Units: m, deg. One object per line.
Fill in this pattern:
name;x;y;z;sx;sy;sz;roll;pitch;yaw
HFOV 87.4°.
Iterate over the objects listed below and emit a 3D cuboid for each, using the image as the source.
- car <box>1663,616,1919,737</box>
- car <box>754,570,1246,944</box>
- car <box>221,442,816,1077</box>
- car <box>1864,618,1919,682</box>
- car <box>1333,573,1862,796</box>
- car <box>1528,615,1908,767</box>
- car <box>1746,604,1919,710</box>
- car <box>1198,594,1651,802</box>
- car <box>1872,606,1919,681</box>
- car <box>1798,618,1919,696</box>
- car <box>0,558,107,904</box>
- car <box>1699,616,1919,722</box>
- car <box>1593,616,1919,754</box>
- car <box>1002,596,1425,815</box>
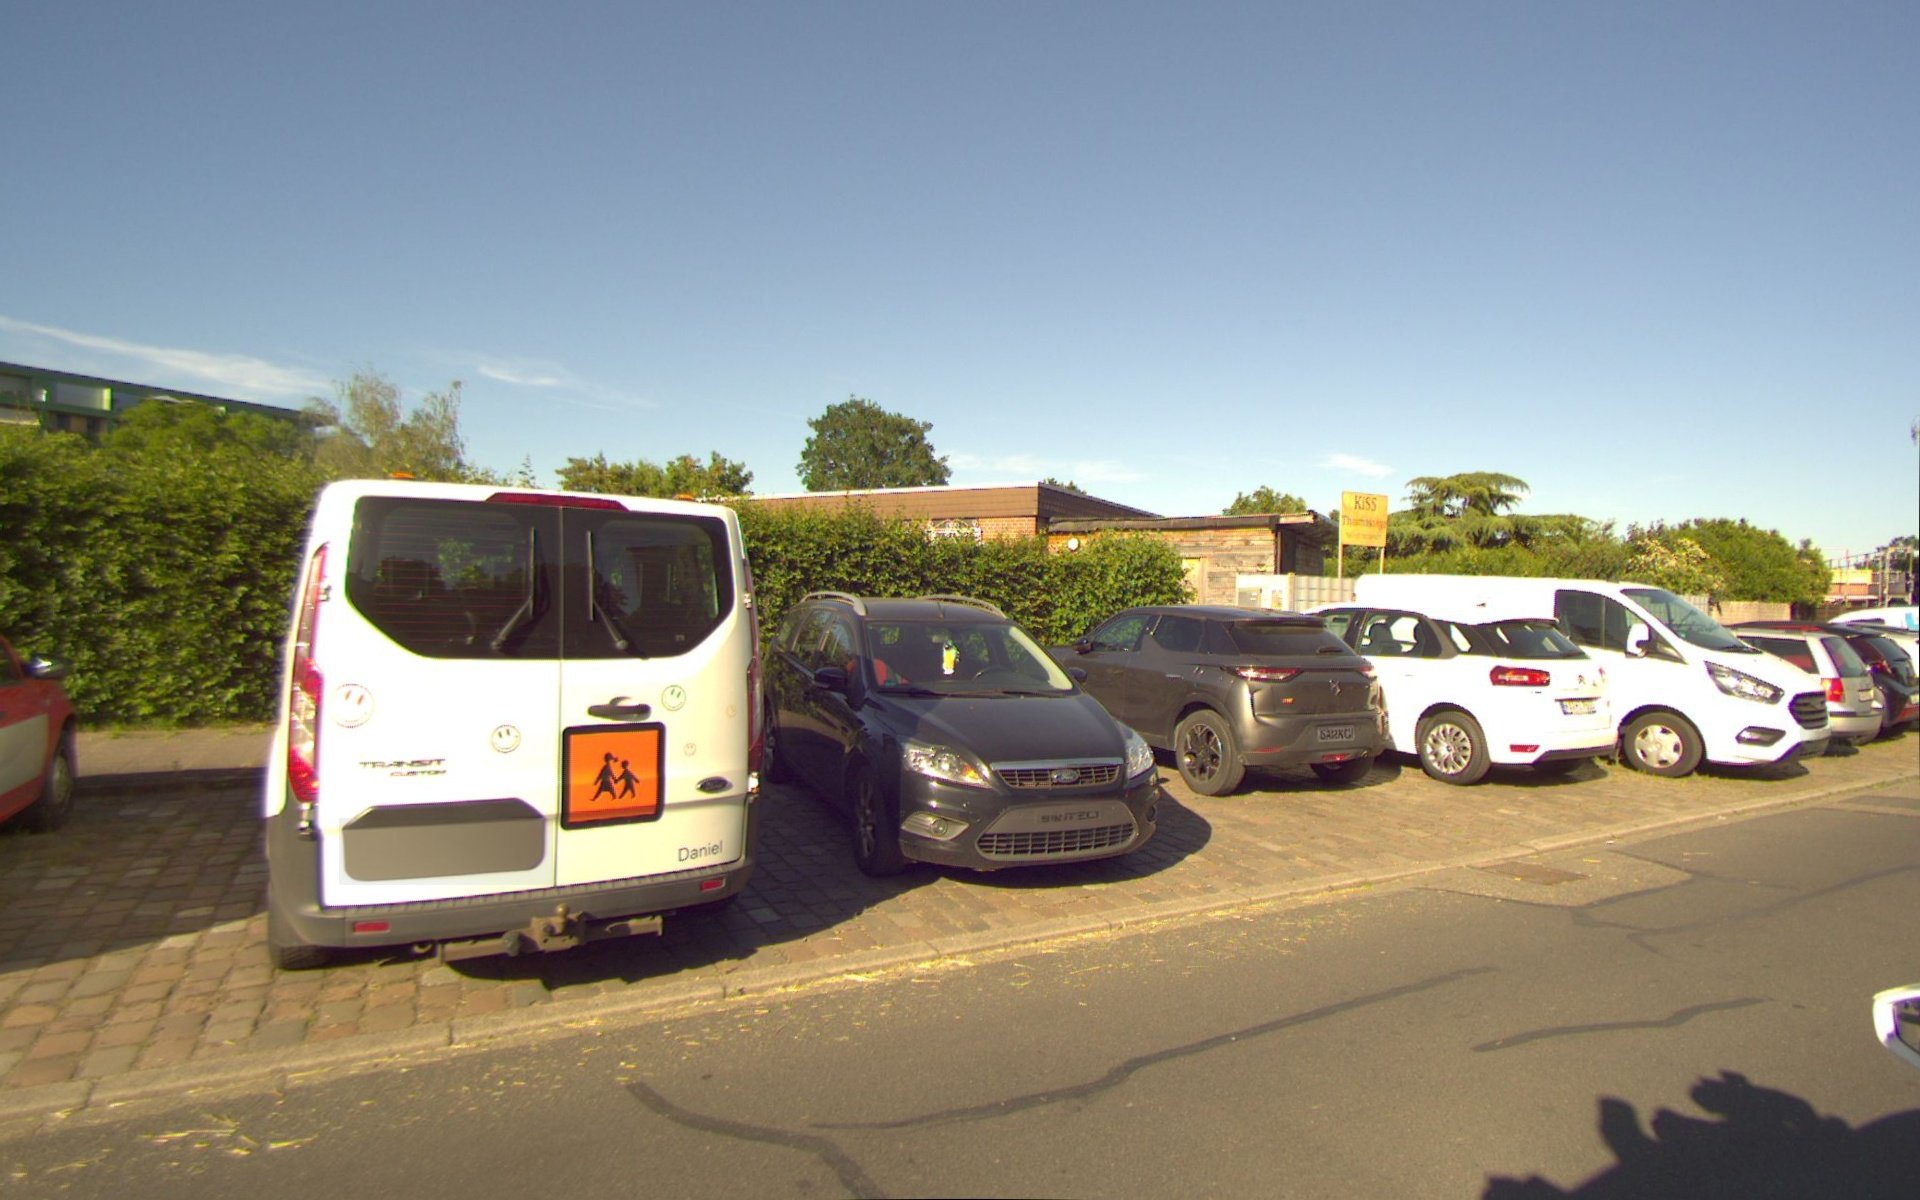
car;13.339;1.118;15.653;1.617;1.509;3.497;2;1;-30
car;-0.111;0.721;7.005;1.856;1.729;4.143;2;1;-22
car;-2.672;0.440;5.574;1.979;2.003;4.452;2;2;-33
car;24.828;1.309;24.233;1.905;1.512;4.111;2;1;-34
car;7.073;0.752;11.777;2.058;1.946;4.763;2;1;-31
car;9.519;1.044;12.897;1.617;1.466;3.497;2;1;-30
car;17.403;1.033;18.713;1.906;1.804;3.950;1;1;-35
car;4.601;0.839;10.587;1.861;1.604;3.970;2;1;-28
car;26.833;1.206;25.731;1.981;1.941;4.836;2;0;-37
car;20.677;1.250;21.586;1.773;1.553;3.785;2;0;-38
car;-5.398;0.604;4.460;1.830;1.588;3.584;0;2;-30
car;15.175;1.136;17.301;1.707;1.509;3.497;2;1;-30
car;11.259;1.078;14.235;1.620;1.509;3.491;0;2;-34
car;2.174;0.814;9.632;1.861;1.507;3.752;2;1;-28
